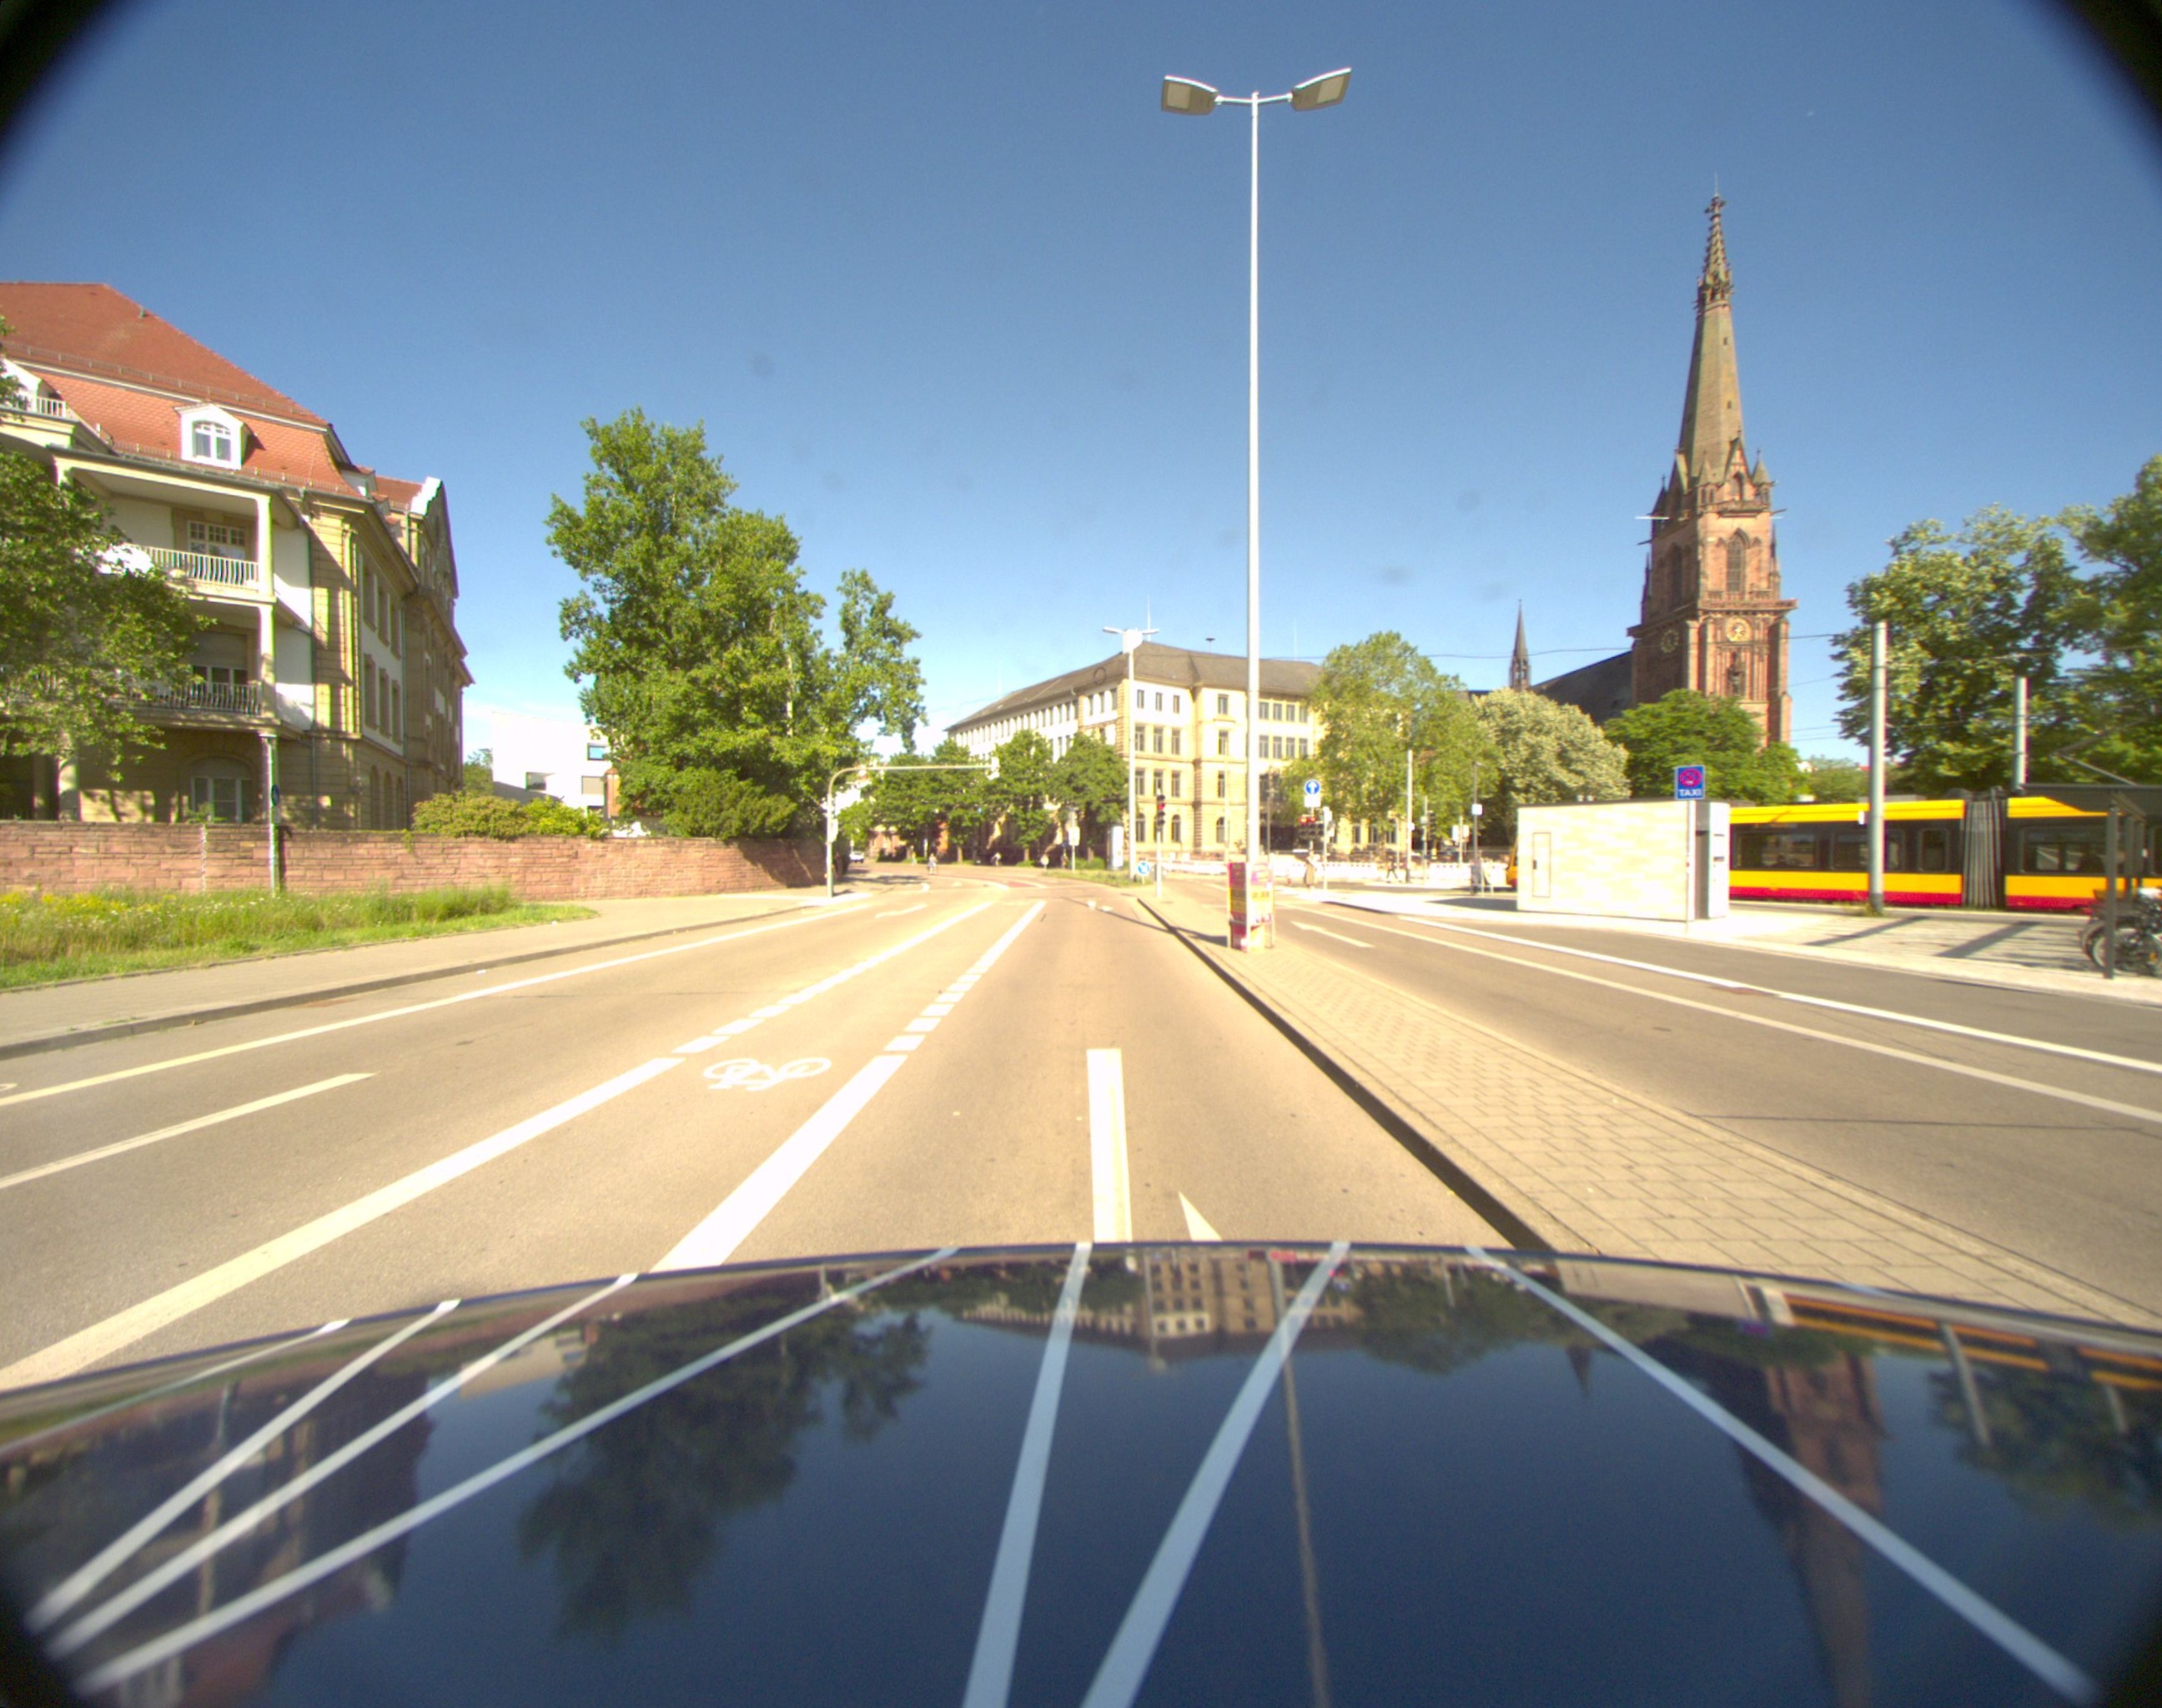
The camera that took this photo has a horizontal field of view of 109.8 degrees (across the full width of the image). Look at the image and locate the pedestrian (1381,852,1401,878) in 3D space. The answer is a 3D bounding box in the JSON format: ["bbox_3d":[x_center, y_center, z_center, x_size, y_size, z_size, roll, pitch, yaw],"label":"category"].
[{"bbox_3d":[20.801,0.734,50.943,0.807,1.731,0.933,-1,1,-35],"label":"pedestrian"}]

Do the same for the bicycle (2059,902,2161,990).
[{"bbox_3d":[13.940,1.203,9.591,0.702,1.002,1.863,-1,2,-32],"label":"bicycle"}]

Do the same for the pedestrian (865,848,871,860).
[{"bbox_3d":[-33.706,0.056,120.228,0.758,1.801,0.979,-1,-3,-27],"label":"pedestrian"}]

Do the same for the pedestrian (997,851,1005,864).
[{"bbox_3d":[-8.548,0.369,81.037,0.597,1.394,0.644,-3,2,-38],"label":"pedestrian"}]

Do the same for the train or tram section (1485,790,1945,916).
[{"bbox_3d":[21.744,-0.070,27.631,2.806,3.580,12.504,-1,1,-35],"label":"train or tram section"}]

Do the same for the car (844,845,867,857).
[{"bbox_3d":[-31.696,-0.435,106.847,1.851,1.543,4.324,1,1,-35],"label":"car"}]

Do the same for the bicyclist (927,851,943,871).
[{"bbox_3d":[-11.488,0.507,59.566,0.871,1.551,1.277,-1,1,-29],"label":"bicyclist"}]

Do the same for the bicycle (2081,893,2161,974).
[{"bbox_3d":[15.144,1.112,10.325,0.574,1.045,1.826,-1,1,-32],"label":"bicycle"}]

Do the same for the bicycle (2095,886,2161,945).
[{"bbox_3d":[19.529,1.120,13.454,0.630,1.002,1.826,-1,1,-32],"label":"bicycle"}]

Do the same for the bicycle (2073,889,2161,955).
[{"bbox_3d":[17.816,1.133,12.457,0.630,1.002,1.826,-1,1,-32],"label":"bicycle"}]

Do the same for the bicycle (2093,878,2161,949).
[{"bbox_3d":[18.950,1.043,13.046,0.630,1.173,1.826,-1,1,-32],"label":"bicycle"}]

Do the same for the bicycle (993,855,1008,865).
[{"bbox_3d":[-8.632,0.676,81.158,0.602,1.000,1.982,-3,1,-39],"label":"bicycle"}]

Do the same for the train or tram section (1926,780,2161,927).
[{"bbox_3d":[28.821,-0.016,17.449,2.806,3.580,12.294,-1,1,-35],"label":"train or tram section"}]

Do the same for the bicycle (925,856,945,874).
[{"bbox_3d":[-11.488,0.814,59.561,0.763,1.360,2.731,-1,1,-28],"label":"bicycle"}]

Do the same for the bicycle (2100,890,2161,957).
[{"bbox_3d":[17.168,1.095,11.621,0.630,1.002,1.826,-1,1,-32],"label":"bicycle"}]

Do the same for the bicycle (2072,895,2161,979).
[{"bbox_3d":[14.674,1.126,10.059,0.630,1.059,1.826,-1,1,-32],"label":"bicycle"}]

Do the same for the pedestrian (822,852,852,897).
[{"bbox_3d":[-10.297,0.846,32.101,0.960,1.839,0.731,1,1,4],"label":"pedestrian"}]

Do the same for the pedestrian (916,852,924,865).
[{"bbox_3d":[-21.723,0.623,102.441,0.759,1.802,0.977,-1,1,-40],"label":"pedestrian"}]

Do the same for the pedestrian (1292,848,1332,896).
[{"bbox_3d":[8.903,0.676,29.320,1.229,1.845,0.827,0,1,-9],"label":"pedestrian"}]

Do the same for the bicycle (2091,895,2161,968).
[{"bbox_3d":[16.181,1.158,10.997,0.630,1.002,1.826,-1,1,-32],"label":"bicycle"}]
